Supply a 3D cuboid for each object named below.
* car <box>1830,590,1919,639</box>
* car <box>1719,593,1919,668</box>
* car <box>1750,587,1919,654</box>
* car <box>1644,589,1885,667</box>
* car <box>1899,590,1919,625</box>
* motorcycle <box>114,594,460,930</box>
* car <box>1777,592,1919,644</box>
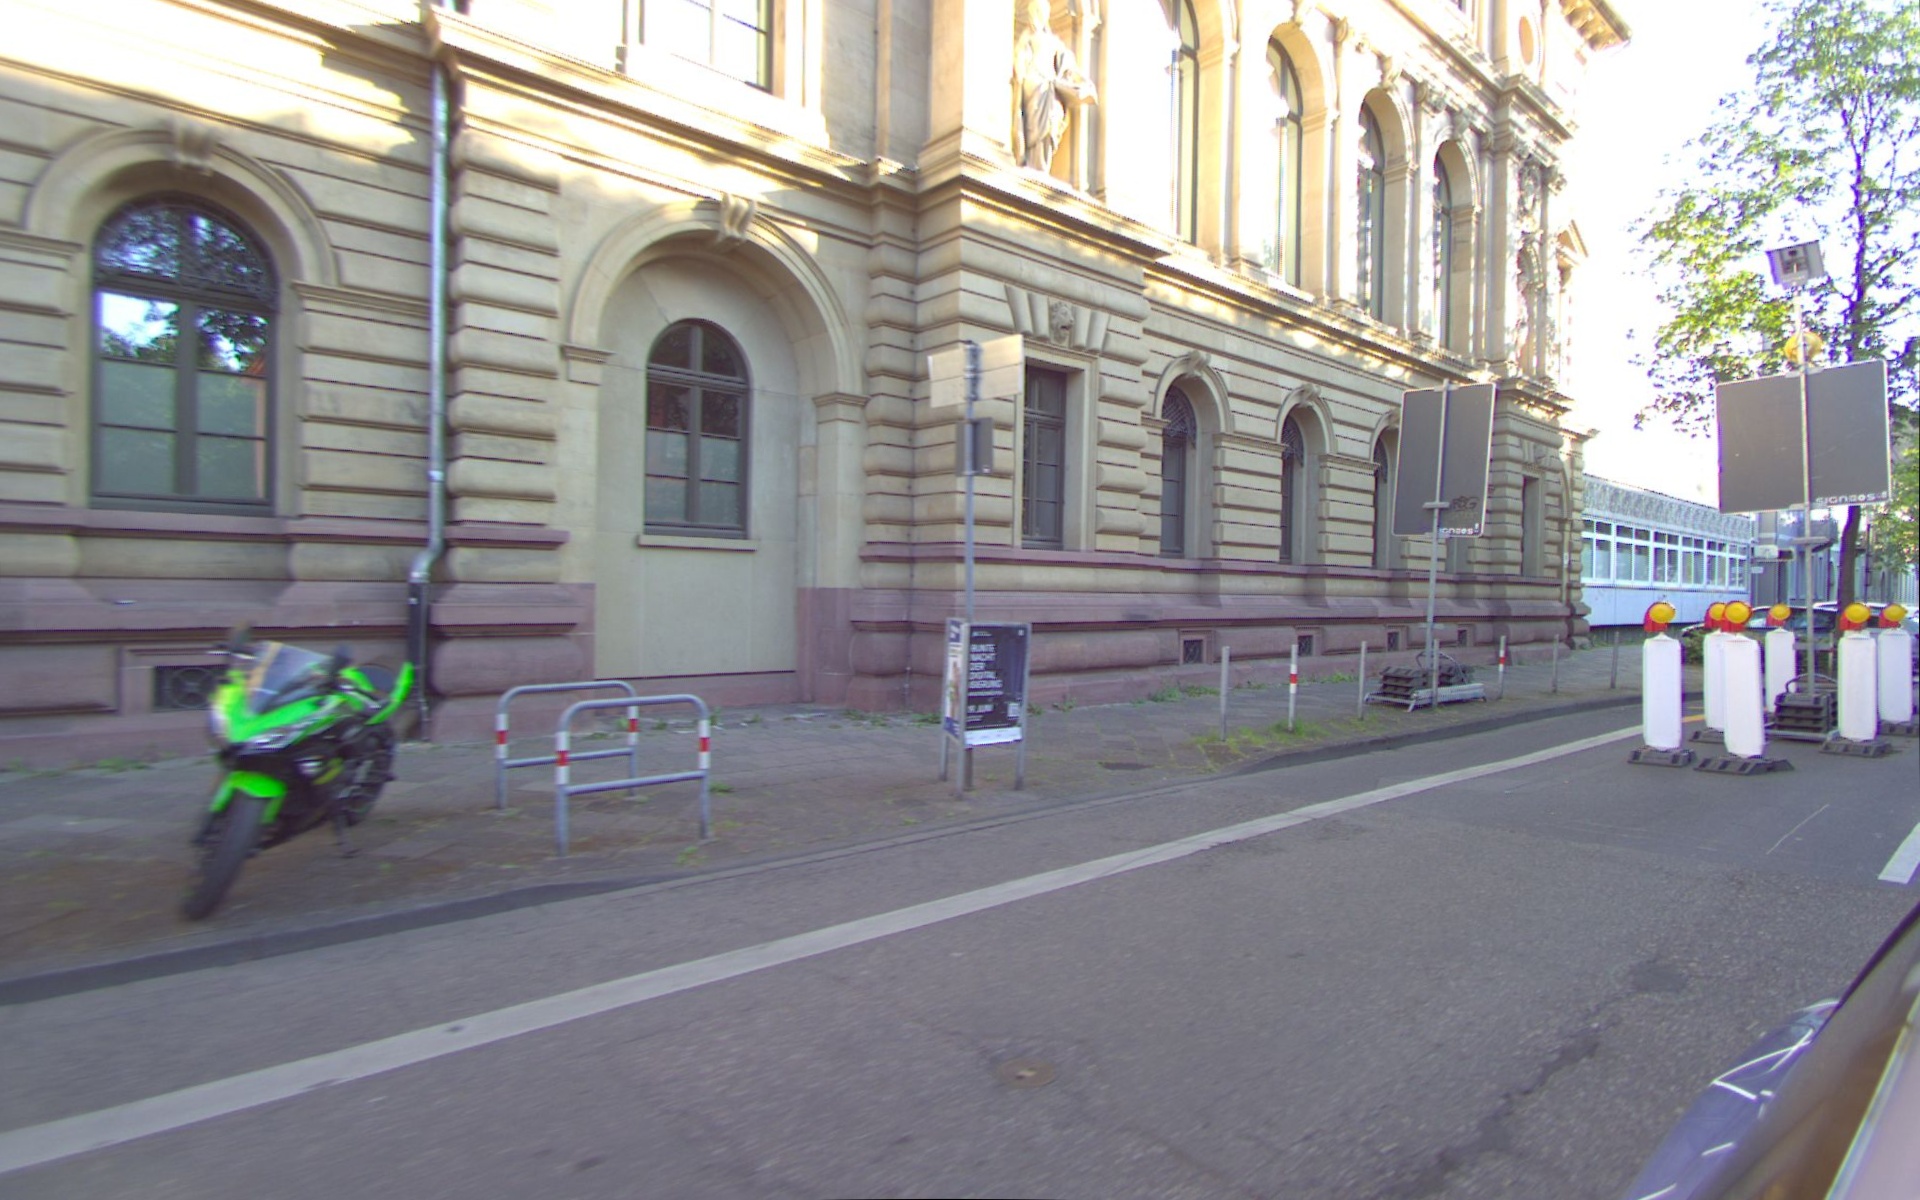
[{"bbox_3d":[34.697,0.557,36.878,1.704,1.644,4.363,0,3,-43],"label":"car"},{"bbox_3d":[21.996,0.714,25.438,1.643,1.513,4.367,0,4,-41],"label":"car"},{"bbox_3d":[26.423,0.566,30.037,2.020,1.662,4.364,0,3,-43],"label":"car"},{"bbox_3d":[19.381,0.592,24.522,1.804,1.482,4.361,0,4,-45],"label":"car"},{"bbox_3d":[51.357,0.475,52.049,1.704,1.800,4.363,0,3,-43],"label":"car"},{"bbox_3d":[-3.197,0.645,5.086,0.695,1.230,2.109,2,3,-12],"label":"motorcycle"},{"bbox_3d":[30.542,0.595,34.158,1.855,1.512,4.363,0,3,-43],"label":"car"}]
